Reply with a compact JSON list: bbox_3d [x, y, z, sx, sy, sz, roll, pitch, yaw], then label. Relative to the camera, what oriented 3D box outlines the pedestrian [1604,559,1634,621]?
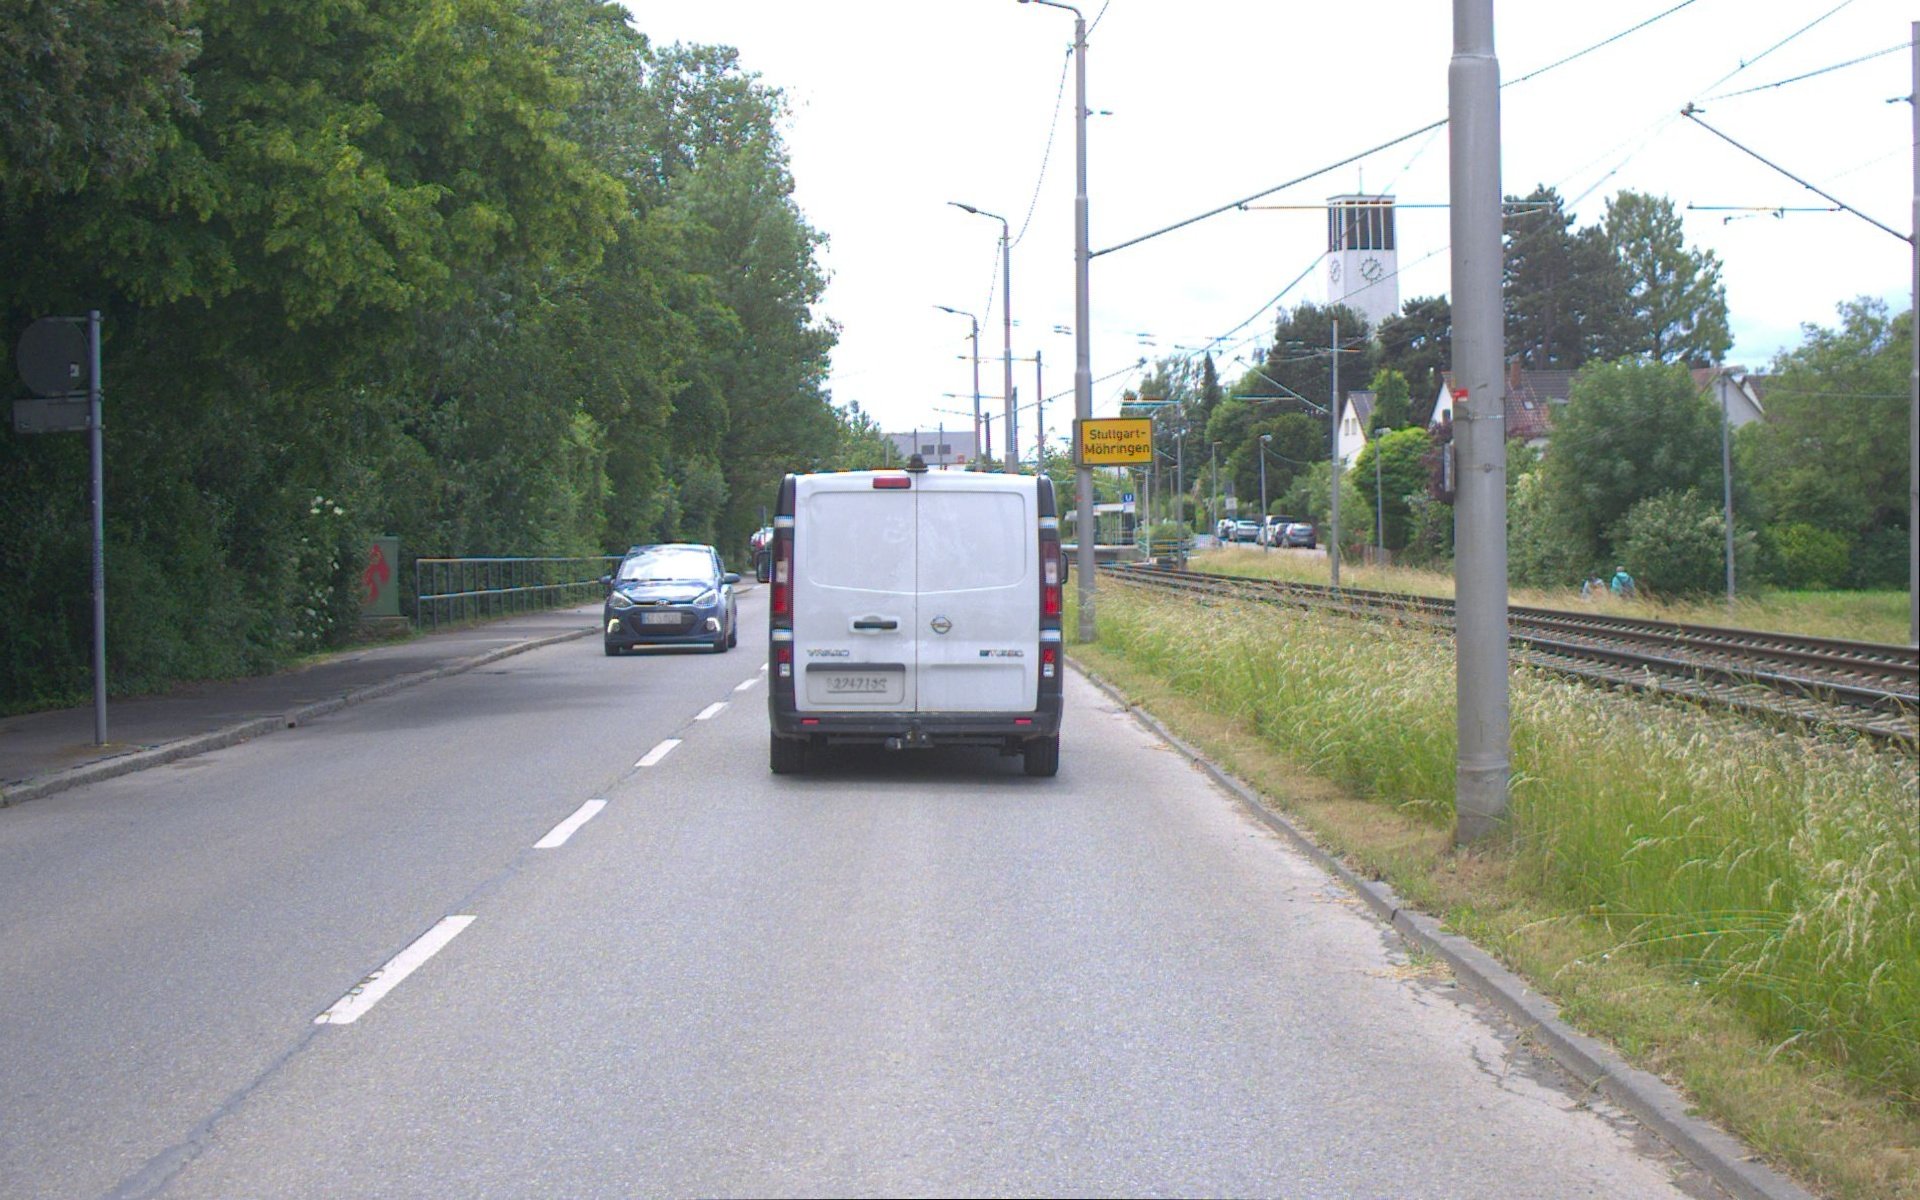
[{"bbox_3d":[17.284,-0.268,90.157,0.616,1.616,0.584,1,1,0],"label":"pedestrian"}]

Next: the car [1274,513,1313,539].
[{"bbox_3d":[19.718,-4.366,203.360,1.883,1.517,4.000,-1,1,0],"label":"car"}]

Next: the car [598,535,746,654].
[{"bbox_3d":[-3.967,-0.097,47.782,1.706,1.523,3.825,-2,1,0],"label":"car"}]

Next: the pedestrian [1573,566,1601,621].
[{"bbox_3d":[16.452,-0.176,90.217,0.598,1.425,0.666,1,1,0],"label":"pedestrian"}]

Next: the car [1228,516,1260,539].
[{"bbox_3d":[19.468,-4.976,235.955,1.883,1.517,4.000,-1,1,0],"label":"car"}]

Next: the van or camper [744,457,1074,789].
[{"bbox_3d":[-0.332,0.110,23.168,1.993,2.007,4.446,1,1,0],"label":"van or camper"}]

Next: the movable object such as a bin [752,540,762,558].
[{"bbox_3d":[-10.553,-2.672,178.748,0.513,0.941,0.568,0,1,-1],"label":"movable object such as a bin"}]

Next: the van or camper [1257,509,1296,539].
[{"bbox_3d":[19.719,-4.738,214.247,1.905,1.819,5.048,-1,1,0],"label":"van or camper"}]
